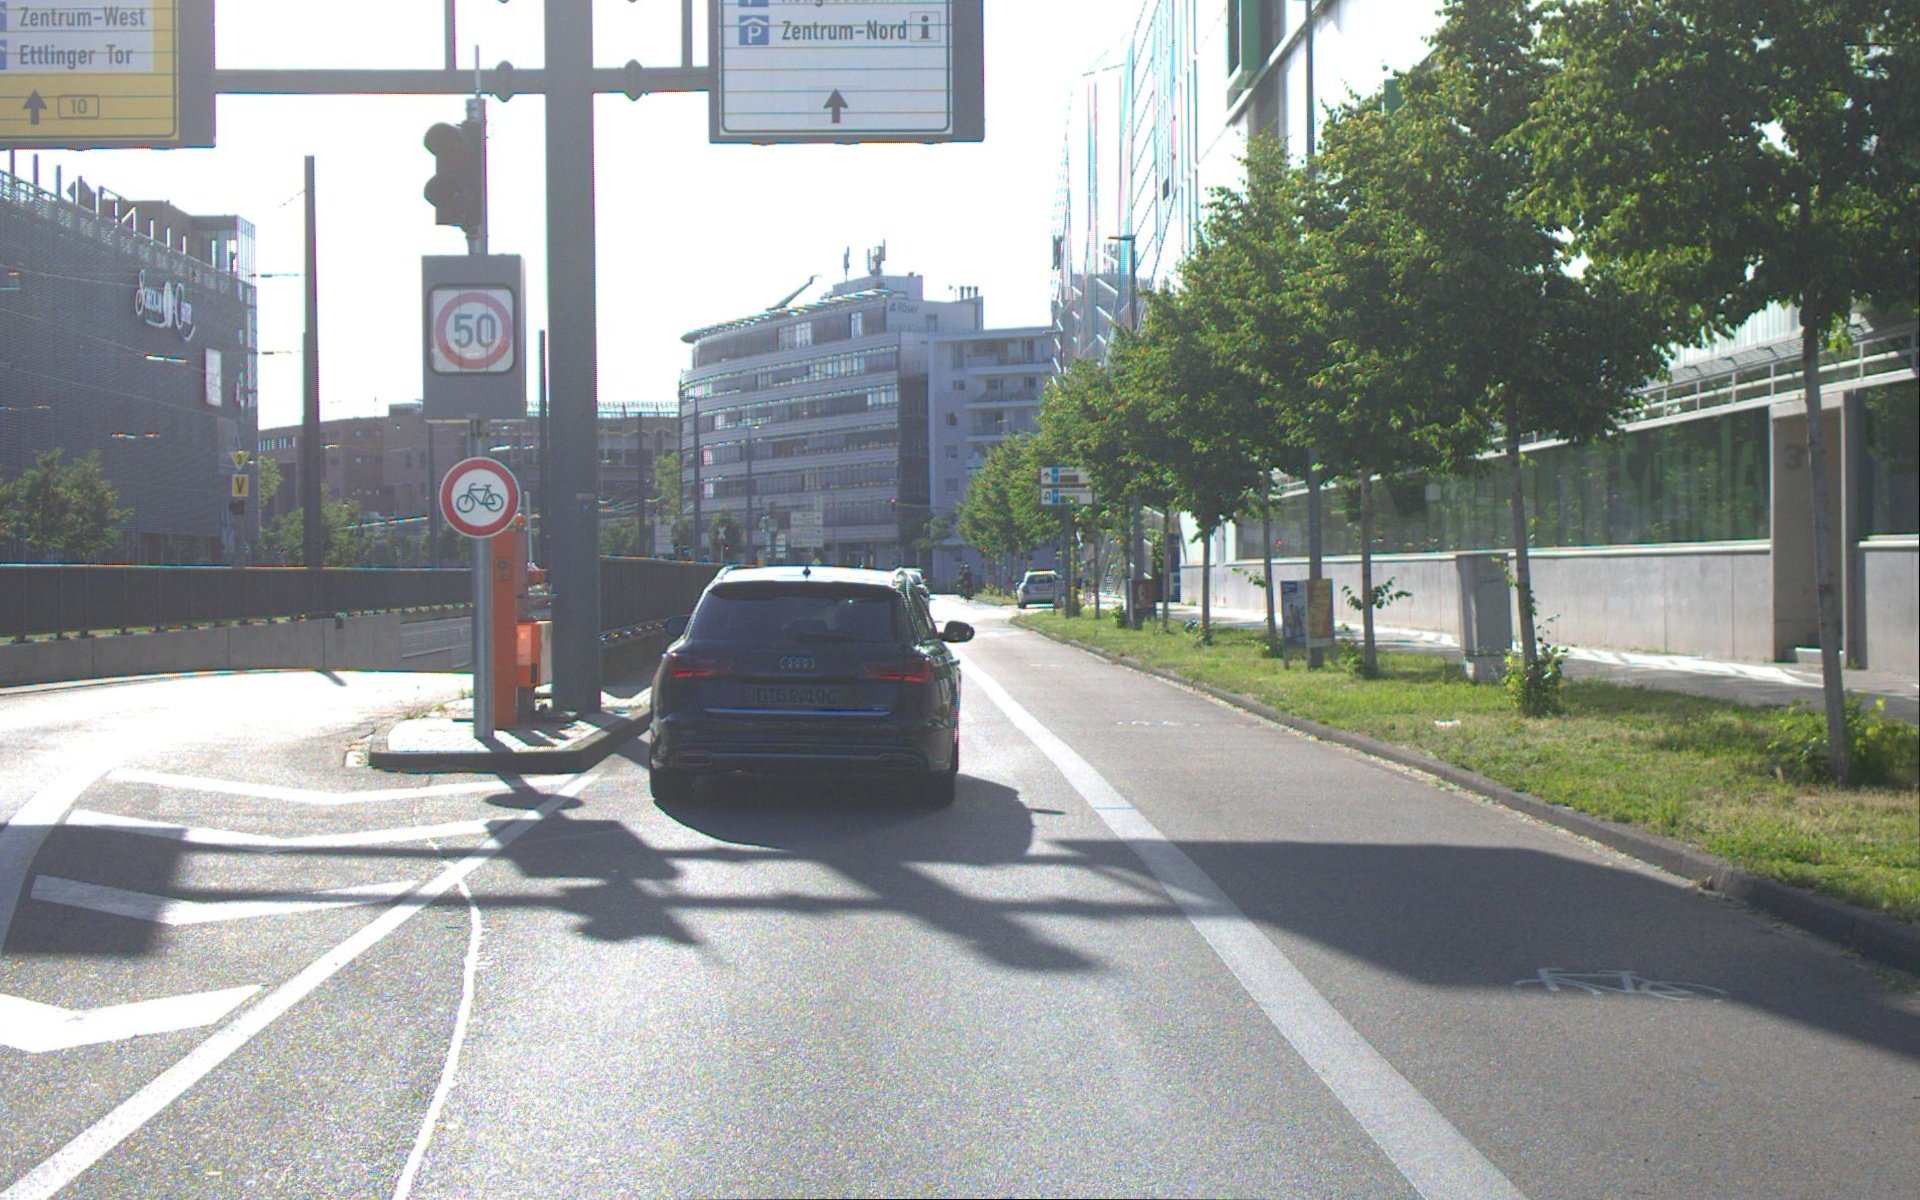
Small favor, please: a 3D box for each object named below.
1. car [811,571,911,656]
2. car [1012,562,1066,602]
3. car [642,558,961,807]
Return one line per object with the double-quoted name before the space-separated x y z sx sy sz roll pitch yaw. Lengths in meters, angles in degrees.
"car" -1.911 0.243 66.773 1.852 1.541 4.000 1 1 -1
"car" 3.154 -0.740 138.339 1.852 1.476 4.854 -2 1 -2
"car" -0.914 0.462 22.176 1.812 1.422 4.690 -1 0 0
